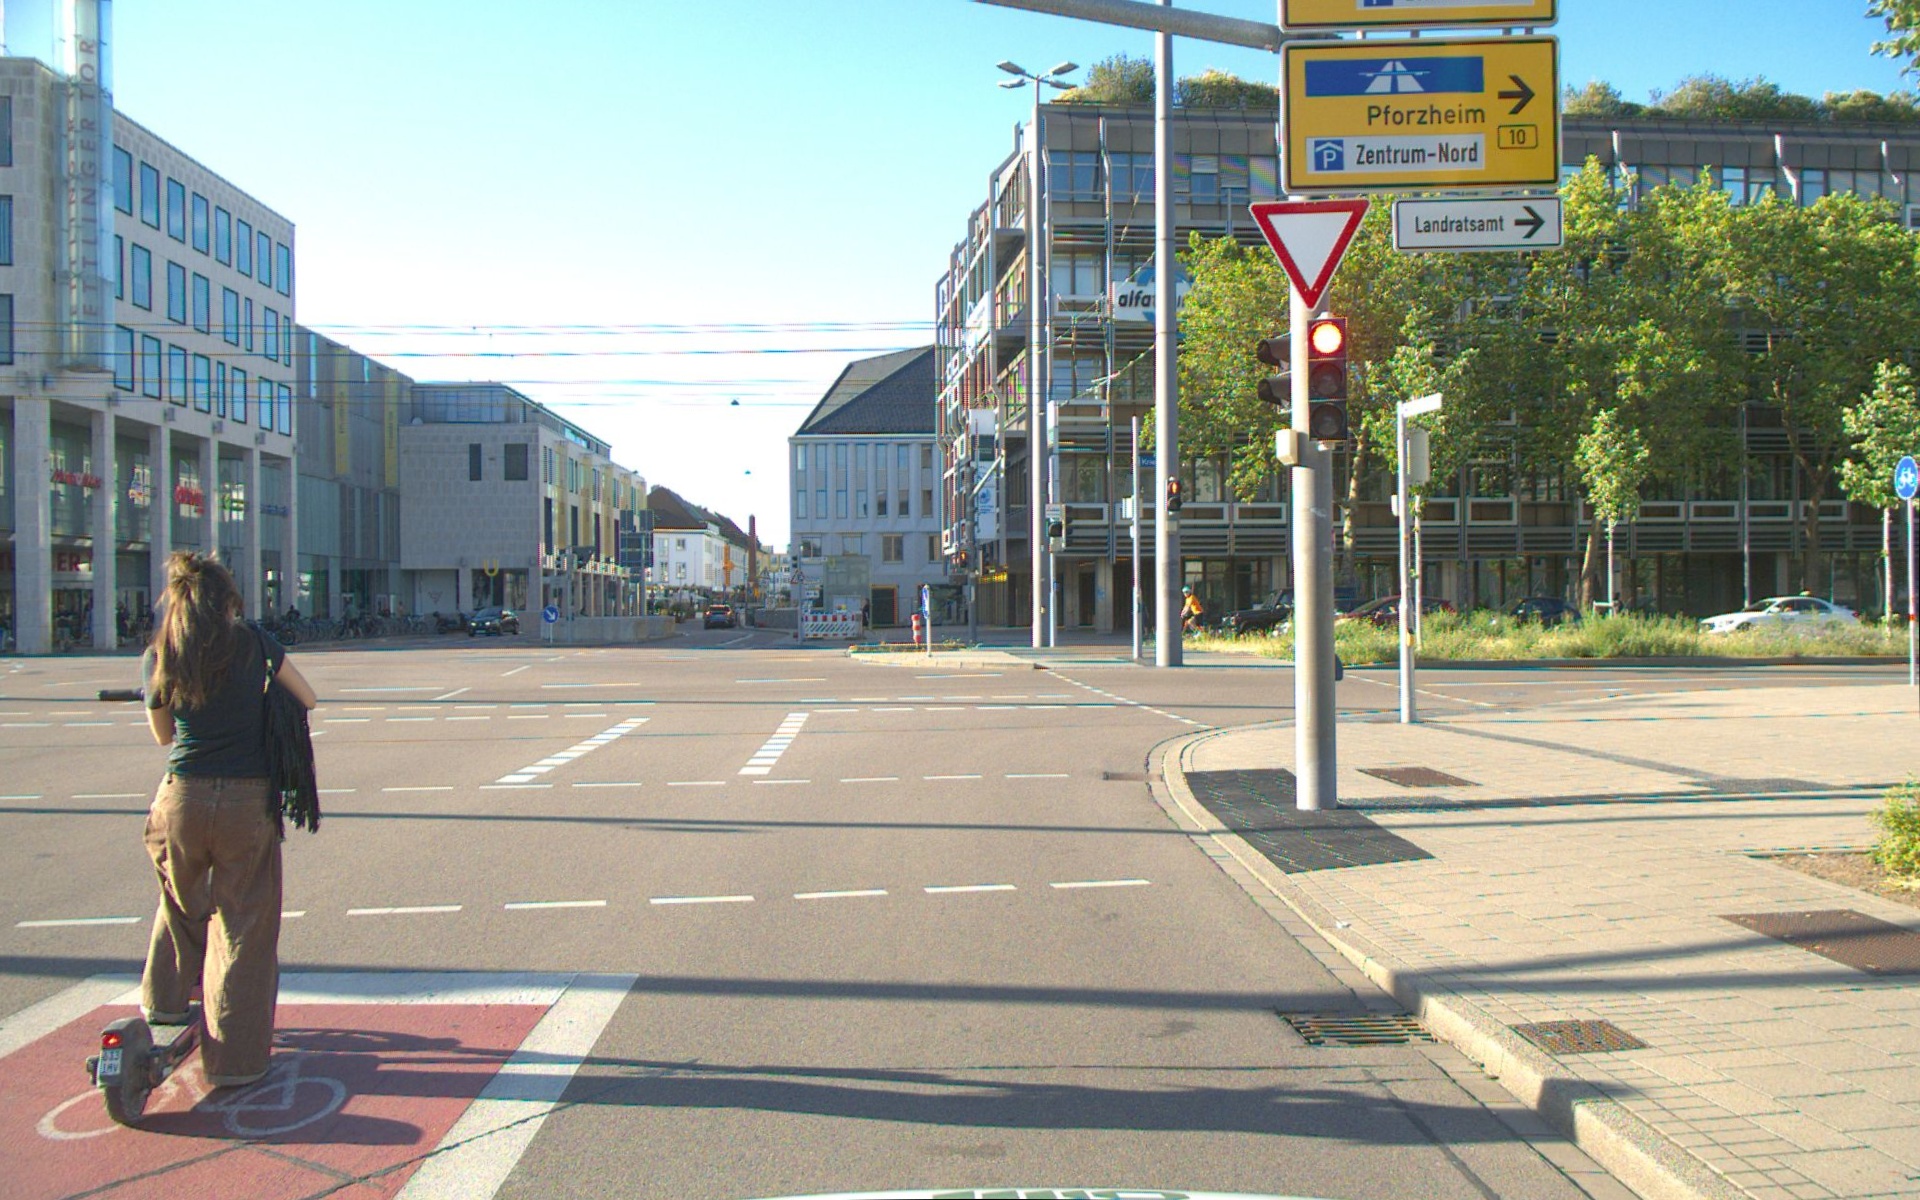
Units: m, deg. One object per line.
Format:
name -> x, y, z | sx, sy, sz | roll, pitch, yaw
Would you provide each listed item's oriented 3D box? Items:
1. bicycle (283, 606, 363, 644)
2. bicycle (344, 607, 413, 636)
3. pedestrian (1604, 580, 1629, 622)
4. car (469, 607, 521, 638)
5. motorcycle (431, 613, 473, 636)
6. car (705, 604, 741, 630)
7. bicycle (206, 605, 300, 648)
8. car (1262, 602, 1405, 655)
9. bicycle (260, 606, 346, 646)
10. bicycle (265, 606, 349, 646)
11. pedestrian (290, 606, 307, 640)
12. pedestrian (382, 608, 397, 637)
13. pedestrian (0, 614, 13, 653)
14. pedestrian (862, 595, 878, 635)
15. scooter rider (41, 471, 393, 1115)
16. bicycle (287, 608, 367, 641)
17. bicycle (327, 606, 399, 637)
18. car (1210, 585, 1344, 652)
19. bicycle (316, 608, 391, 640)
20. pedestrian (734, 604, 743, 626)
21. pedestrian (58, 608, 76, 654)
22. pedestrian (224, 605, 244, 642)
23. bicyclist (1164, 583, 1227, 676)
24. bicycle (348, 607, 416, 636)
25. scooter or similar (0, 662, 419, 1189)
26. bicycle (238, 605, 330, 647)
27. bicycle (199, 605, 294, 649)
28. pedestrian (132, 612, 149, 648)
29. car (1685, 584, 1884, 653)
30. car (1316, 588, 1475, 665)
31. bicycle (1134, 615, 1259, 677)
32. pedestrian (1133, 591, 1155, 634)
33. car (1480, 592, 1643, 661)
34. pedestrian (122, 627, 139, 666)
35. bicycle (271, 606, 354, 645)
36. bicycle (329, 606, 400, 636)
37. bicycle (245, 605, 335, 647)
bicycle -> -30.339, 1.188, 78.868 | 3.430, 1.726, 0.984 | -1, 0, -12
bicycle -> -31.786, 1.168, 90.401 | 3.430, 1.554, 0.984 | -1, 0, -12
pedestrian -> 26.217, 0.038, 66.073 | 0.651, 1.687, 0.740 | -1, 0, -8
car -> -24.226, 1.138, 86.228 | 1.955, 1.512, 3.995 | -1, 0, -6
motorcycle -> -29.957, 1.436, 97.595 | 2.230, 1.341, 0.719 | -1, 0, -6
car -> -15.499, 1.097, 108.164 | 2.157, 1.635, 4.320 | -1, 0, -6
bicycle -> -29.553, 1.094, 69.208 | 3.427, 1.726, 1.114 | -1, 0, -10
car -> 11.437, 0.864, 50.816 | 3.908, 1.534, 1.867 | 1, 0, -4
bicycle -> -29.576, 1.168, 74.494 | 3.430, 1.726, 0.984 | -1, 0, -12
bicycle -> -29.800, 1.178, 75.582 | 3.430, 1.726, 0.984 | -1, 0, -12
pedestrian -> -33.219, 1.135, 83.055 | 0.641, 1.671, 0.693 | -1, 0, -9
pedestrian -> -34.118, 1.344, 98.866 | 0.683, 1.671, 0.694 | -1, 0, -7
pedestrian -> -35.600, 1.264, 61.780 | 0.381, 1.437, 0.434 | -1, 0, -27
pedestrian -> -3.784, 0.629, 69.232 | 0.650, 1.687, 0.755 | -1, 0, -4
scooter rider -> -2.226, 0.540, 5.054 | 0.713, 1.806, 0.811 | 0, 0, -1
bicycle -> -30.544, 1.171, 79.857 | 3.430, 1.554, 0.984 | -1, 0, -12
bicycle -> -31.074, 1.120, 86.128 | 3.430, 1.554, 0.984 | -1, 0, -12
car -> 10.302, 0.598, 53.920 | 3.908, 2.049, 1.999 | 1, 0, -3
bicycle -> -30.887, 1.212, 84.267 | 3.430, 1.554, 0.984 | -1, 0, -12
pedestrian -> -14.465, 0.965, 108.008 | 0.598, 1.436, 0.569 | -1, 0, -7
pedestrian -> -32.526, 1.113, 60.221 | 0.535, 1.671, 0.544 | -1, 0, -33
pedestrian -> -32.930, 1.054, 75.041 | 0.773, 1.671, 0.690 | -1, 0, -21
bicyclist -> 6.716, 0.832, 47.224 | 1.539, 2.625, 0.930 | -1, 0, -10
bicycle -> -31.950, 1.198, 91.425 | 3.430, 1.554, 0.984 | -1, 0, -12
scooter or similar -> -2.218, 0.828, 4.885 | 0.713, 1.223, 1.664 | 0, 0, -1
bicycle -> -28.870, 1.087, 70.713 | 3.427, 1.726, 1.114 | -1, 0, -10
bicycle -> -29.324, 1.113, 68.033 | 3.427, 1.726, 1.114 | -1, 0, -10
pedestrian -> -34.770, 1.262, 70.171 | 0.472, 1.537, 0.513 | -1, 0, -5
car -> 26.169, 0.579, 52.576 | 5.332, 2.049, 2.096 | 1, 0, -3
car -> 12.229, 0.733, 46.579 | 3.908, 2.049, 1.999 | 1, 0, -3
bicycle -> 6.745, 1.302, 47.223 | 3.427, 1.688, 0.929 | -1, 0, -10
pedestrian -> 7.357, 0.491, 66.093 | 0.715, 1.687, 0.649 | -1, 0, -8
car -> 18.825, 0.821, 51.880 | 4.359, 2.049, 1.998 | 1, 0, -6
pedestrian -> -34.831, 1.959, 69.450 | 0.472, 1.613, 0.513 | -1, 0, -5
bicycle -> -30.041, 1.179, 76.782 | 3.430, 1.726, 0.984 | -1, 0, -12
bicycle -> -31.391, 1.108, 87.245 | 3.430, 1.554, 0.984 | -1, 0, -12
bicycle -> -29.101, 1.123, 71.925 | 3.427, 1.726, 1.114 | -1, 0, -10
